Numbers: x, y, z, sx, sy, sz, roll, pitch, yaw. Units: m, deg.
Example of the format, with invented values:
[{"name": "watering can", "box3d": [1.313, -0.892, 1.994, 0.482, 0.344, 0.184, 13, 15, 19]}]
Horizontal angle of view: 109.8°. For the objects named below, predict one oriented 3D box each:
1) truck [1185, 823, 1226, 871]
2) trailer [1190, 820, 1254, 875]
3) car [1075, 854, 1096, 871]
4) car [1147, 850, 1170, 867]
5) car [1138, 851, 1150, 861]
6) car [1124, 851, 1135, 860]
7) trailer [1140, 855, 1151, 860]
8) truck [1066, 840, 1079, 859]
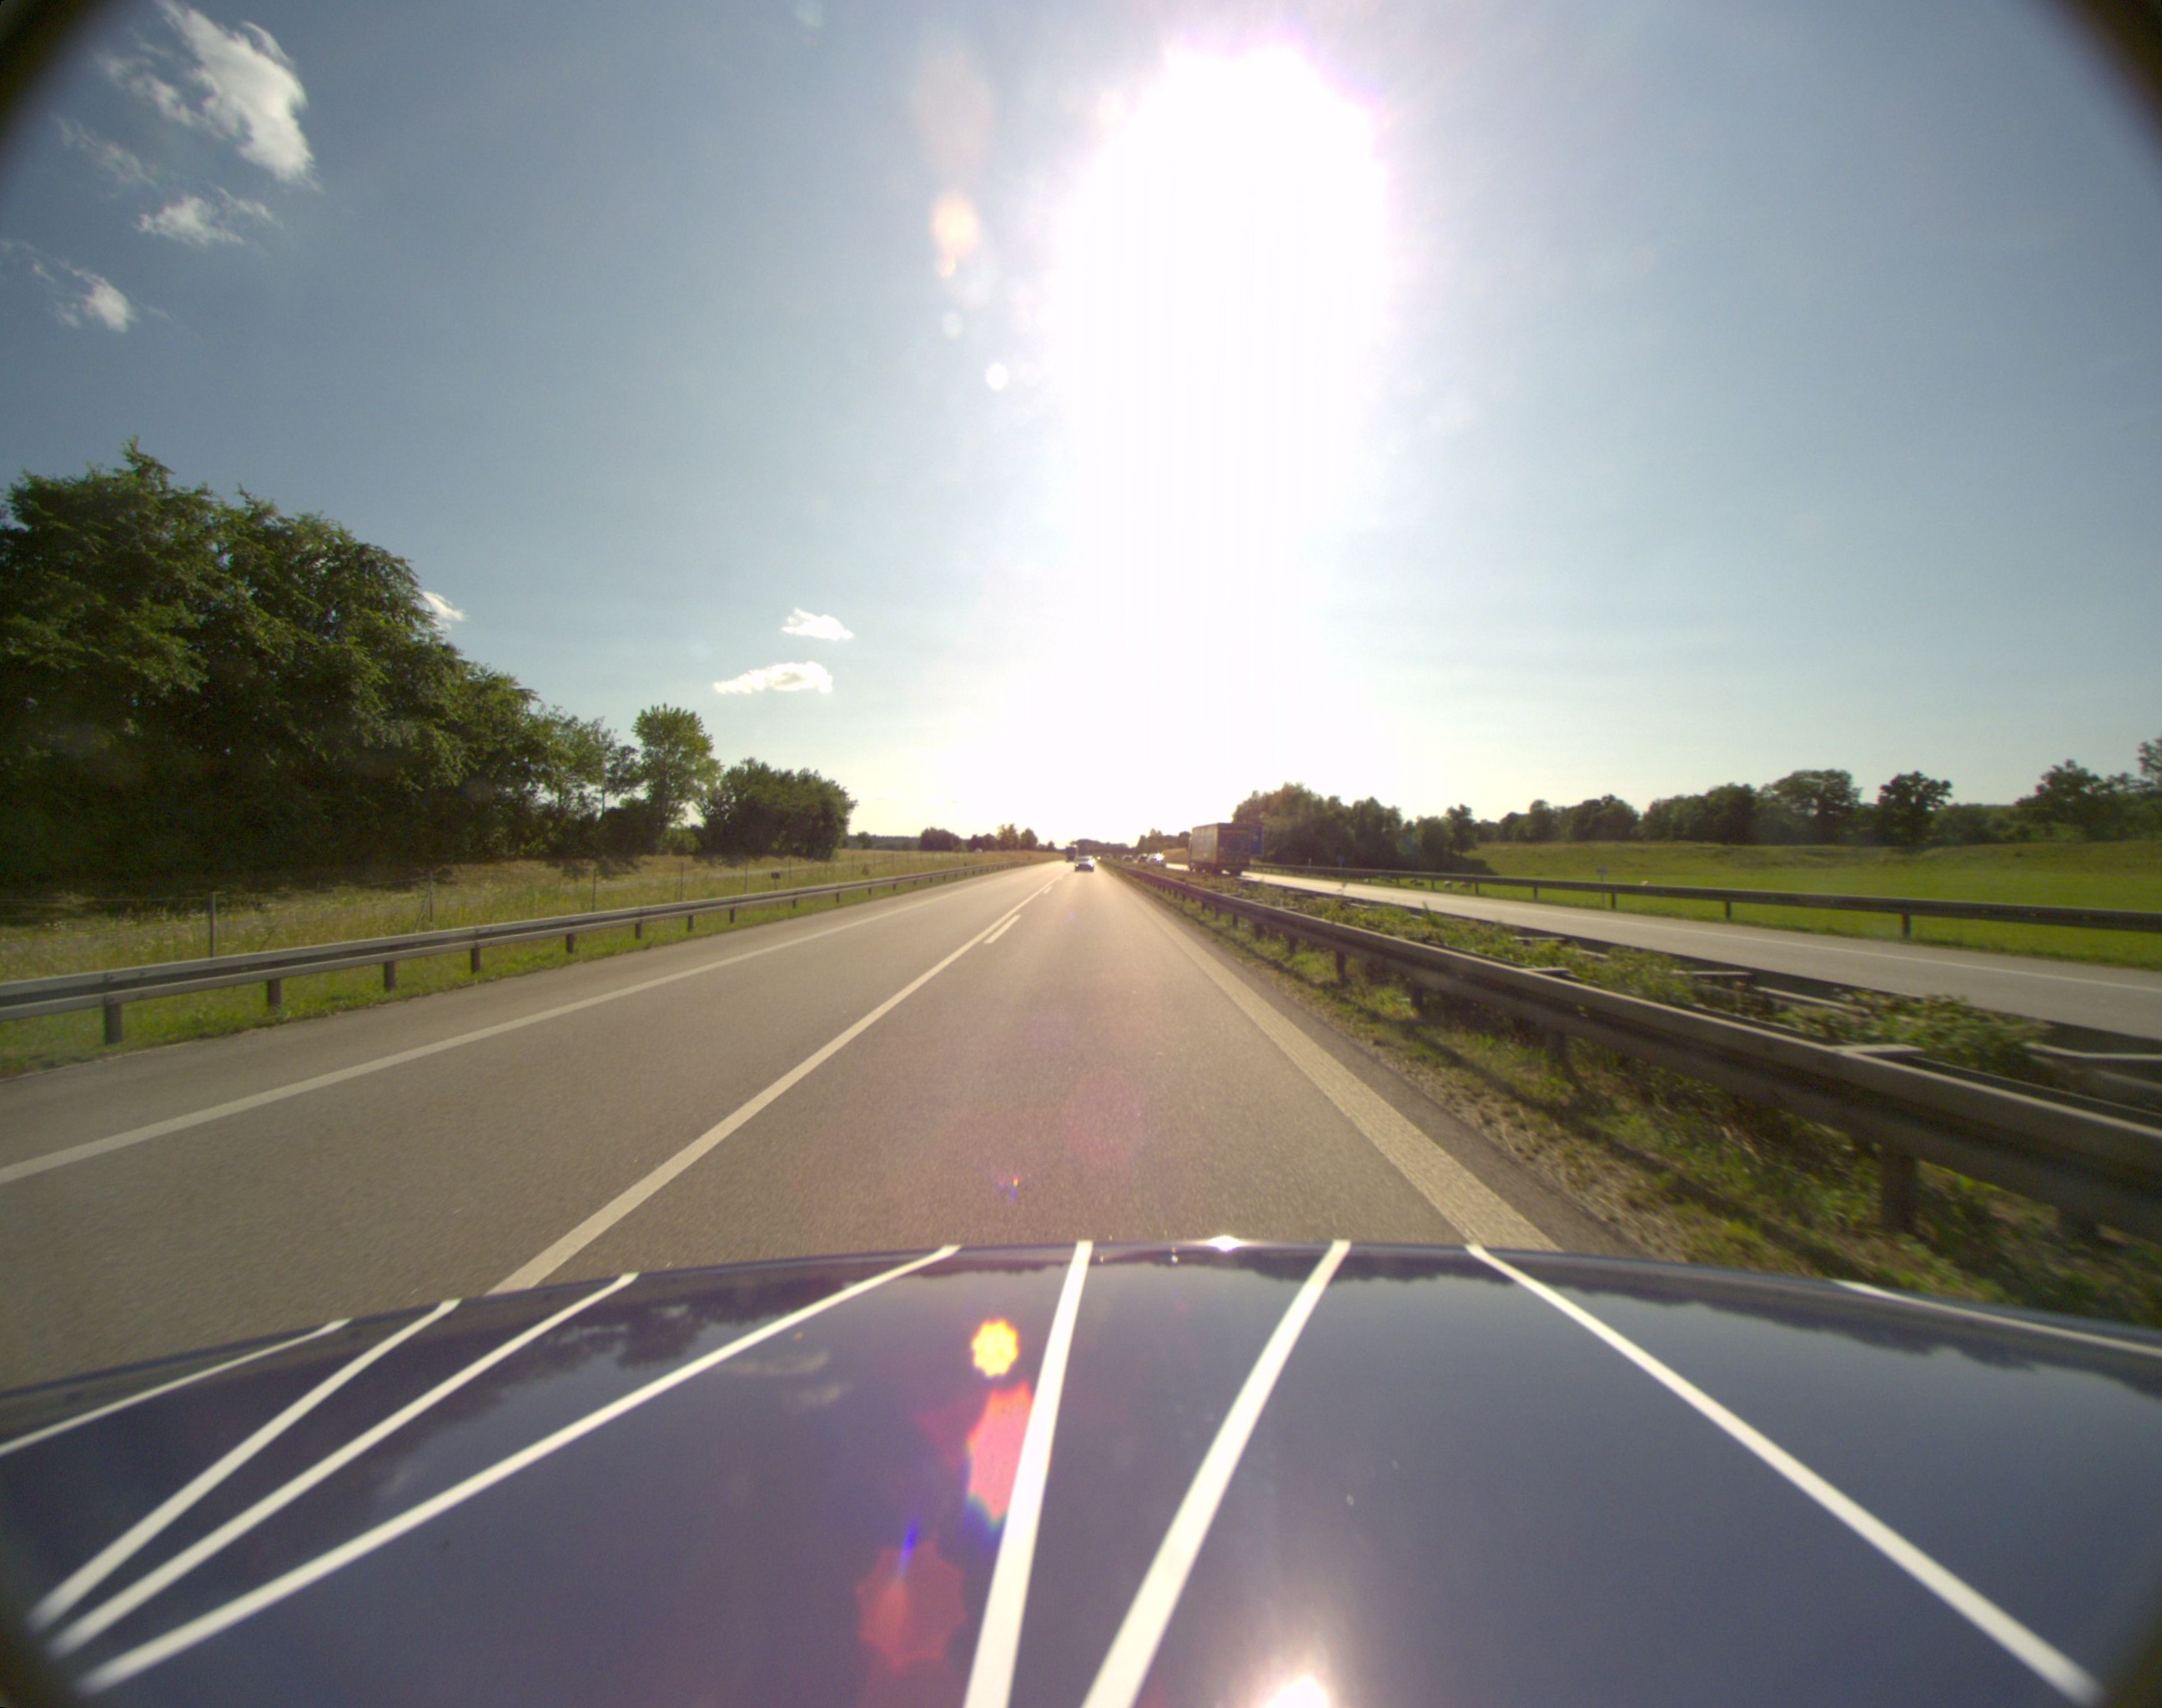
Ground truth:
[{"name": "truck", "box3d": [11.634, -0.639, 71.300, 2.747, 4.278, 6.334, 1, 0, 0]}, {"name": "trailer", "box3d": [11.623, -0.524, 64.371, 2.795, 4.136, 14.392, 1, 0, 0]}, {"name": "car", "box3d": [0.433, 0.785, 73.181, 1.870, 1.514, 4.284, 1, 0, 2]}, {"name": "car", "box3d": [8.211, 0.450, 80.948, 1.998, 1.655, 4.633, 1, 0, 0]}, {"name": "car", "box3d": [12.354, 0.381, 149.251, 1.854, 1.793, 4.871, 2, 0, 1]}, {"name": "car", "box3d": [8.527, 0.245, 133.961, 1.685, 1.451, 4.925, 2, 0, 0]}, {"name": "trailer", "box3d": [12.365, 0.619, 145.156, 1.746, 0.931, 4.020, 1, 0, 1]}, {"name": "truck", "box3d": [-1.875, -1.110, 174.989, 2.536, 4.228, 11.266, 0, 0, 2]}]
